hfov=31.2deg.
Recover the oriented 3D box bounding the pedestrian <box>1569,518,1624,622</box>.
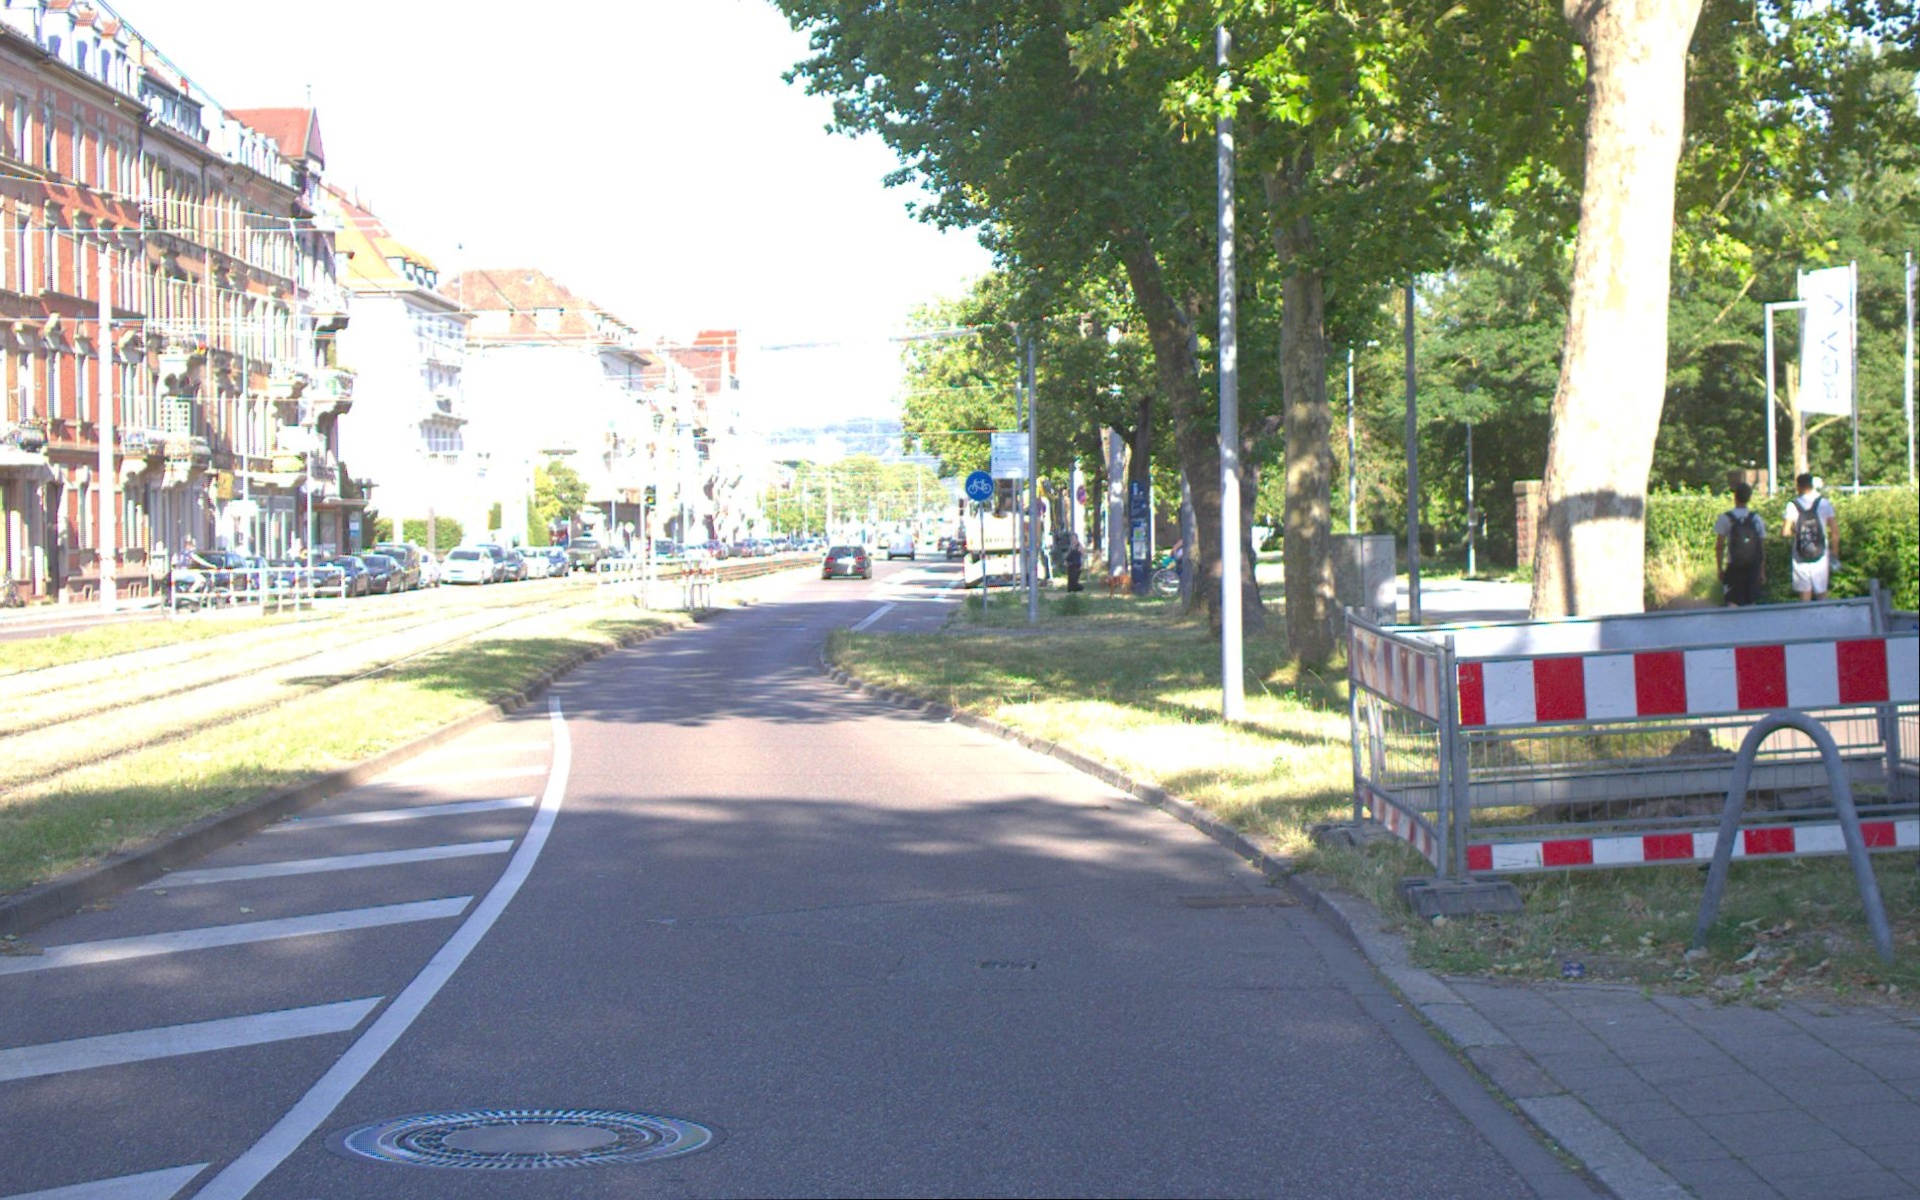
[{"bbox_3d":[9.624,-0.455,52.025,0.650,1.534,0.783,-2,1,1],"label":"pedestrian"}]

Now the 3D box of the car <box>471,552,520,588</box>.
[{"bbox_3d":[-21.598,-1.406,159.832,1.741,1.555,3.768,1,2,0],"label":"car"}]

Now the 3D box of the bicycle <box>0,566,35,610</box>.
[{"bbox_3d":[-26.531,-0.344,96.319,0.699,1.176,1.751,1,1,1],"label":"bicycle"}]

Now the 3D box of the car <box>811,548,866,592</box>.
[{"bbox_3d":[-4.896,-1.222,139.007,1.993,1.678,4.000,1,1,1],"label":"car"}]

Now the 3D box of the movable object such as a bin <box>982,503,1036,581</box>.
[{"bbox_3d":[1.977,-2.367,140.724,1.968,3.003,4.796,-3,1,0],"label":"movable object such as a bin"}]

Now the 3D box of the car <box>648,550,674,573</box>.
[{"bbox_3d":[-21.176,-2.750,243.652,1.527,1.555,3.223,1,2,0],"label":"car"}]

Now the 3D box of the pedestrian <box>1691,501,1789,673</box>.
[{"bbox_3d":[8.305,-0.144,36.633,0.750,1.787,1.086,-2,1,1],"label":"pedestrian"}]

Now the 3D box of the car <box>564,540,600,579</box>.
[{"bbox_3d":[-21.997,-2.374,200.103,1.658,2.132,3.526,1,2,0],"label":"car"}]

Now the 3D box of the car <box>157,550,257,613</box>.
[{"bbox_3d":[-22.914,-0.585,104.786,2.015,1.748,4.558,1,2,0],"label":"car"}]

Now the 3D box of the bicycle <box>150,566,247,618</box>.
[{"bbox_3d":[-16.926,-0.179,76.433,1.954,1.037,0.766,-4,4,-44],"label":"bicycle"}]

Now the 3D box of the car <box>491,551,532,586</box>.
[{"bbox_3d":[-21.544,-1.525,165.375,1.527,1.555,3.223,1,2,0],"label":"car"}]

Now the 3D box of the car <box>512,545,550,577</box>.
[{"bbox_3d":[-21.943,-2.006,175.861,1.527,1.555,3.223,1,2,0],"label":"car"}]

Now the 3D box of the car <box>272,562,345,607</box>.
[{"bbox_3d":[-22.606,-0.557,119.411,1.776,1.401,3.909,1,2,0],"label":"car"}]

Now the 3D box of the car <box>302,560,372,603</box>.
[{"bbox_3d":[-22.442,-0.662,123.928,1.776,1.401,3.909,1,2,0],"label":"car"}]

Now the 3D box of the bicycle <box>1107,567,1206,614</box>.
[{"bbox_3d":[4.563,-0.231,79.799,2.260,1.037,0.766,-1,1,3],"label":"bicycle"}]

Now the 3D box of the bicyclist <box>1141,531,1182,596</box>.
[{"bbox_3d":[4.676,-0.848,79.771,0.903,1.491,0.766,-1,1,3],"label":"bicyclist"}]

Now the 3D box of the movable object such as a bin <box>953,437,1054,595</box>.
[{"bbox_3d":[1.449,-2.873,118.705,3.087,5.071,8.892,-3,1,0],"label":"movable object such as a bin"}]

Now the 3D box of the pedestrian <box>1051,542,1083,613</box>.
[{"bbox_3d":[2.527,-0.533,81.341,0.660,1.641,0.862,-3,1,1],"label":"pedestrian"}]

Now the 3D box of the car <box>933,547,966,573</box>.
[{"bbox_3d":[-0.773,-2.919,251.967,1.993,1.853,4.001,1,1,-6],"label":"car"}]

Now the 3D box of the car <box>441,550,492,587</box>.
[{"bbox_3d":[-22.244,-1.434,155.081,1.741,1.555,3.768,1,2,0],"label":"car"}]

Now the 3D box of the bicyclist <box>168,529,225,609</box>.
[{"bbox_3d":[-16.958,-0.692,76.358,0.920,1.709,0.766,-4,4,-44],"label":"bicyclist"}]

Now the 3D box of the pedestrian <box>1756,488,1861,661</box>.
[{"bbox_3d":[9.055,-0.276,36.710,0.805,1.787,1.110,-2,1,1],"label":"pedestrian"}]
